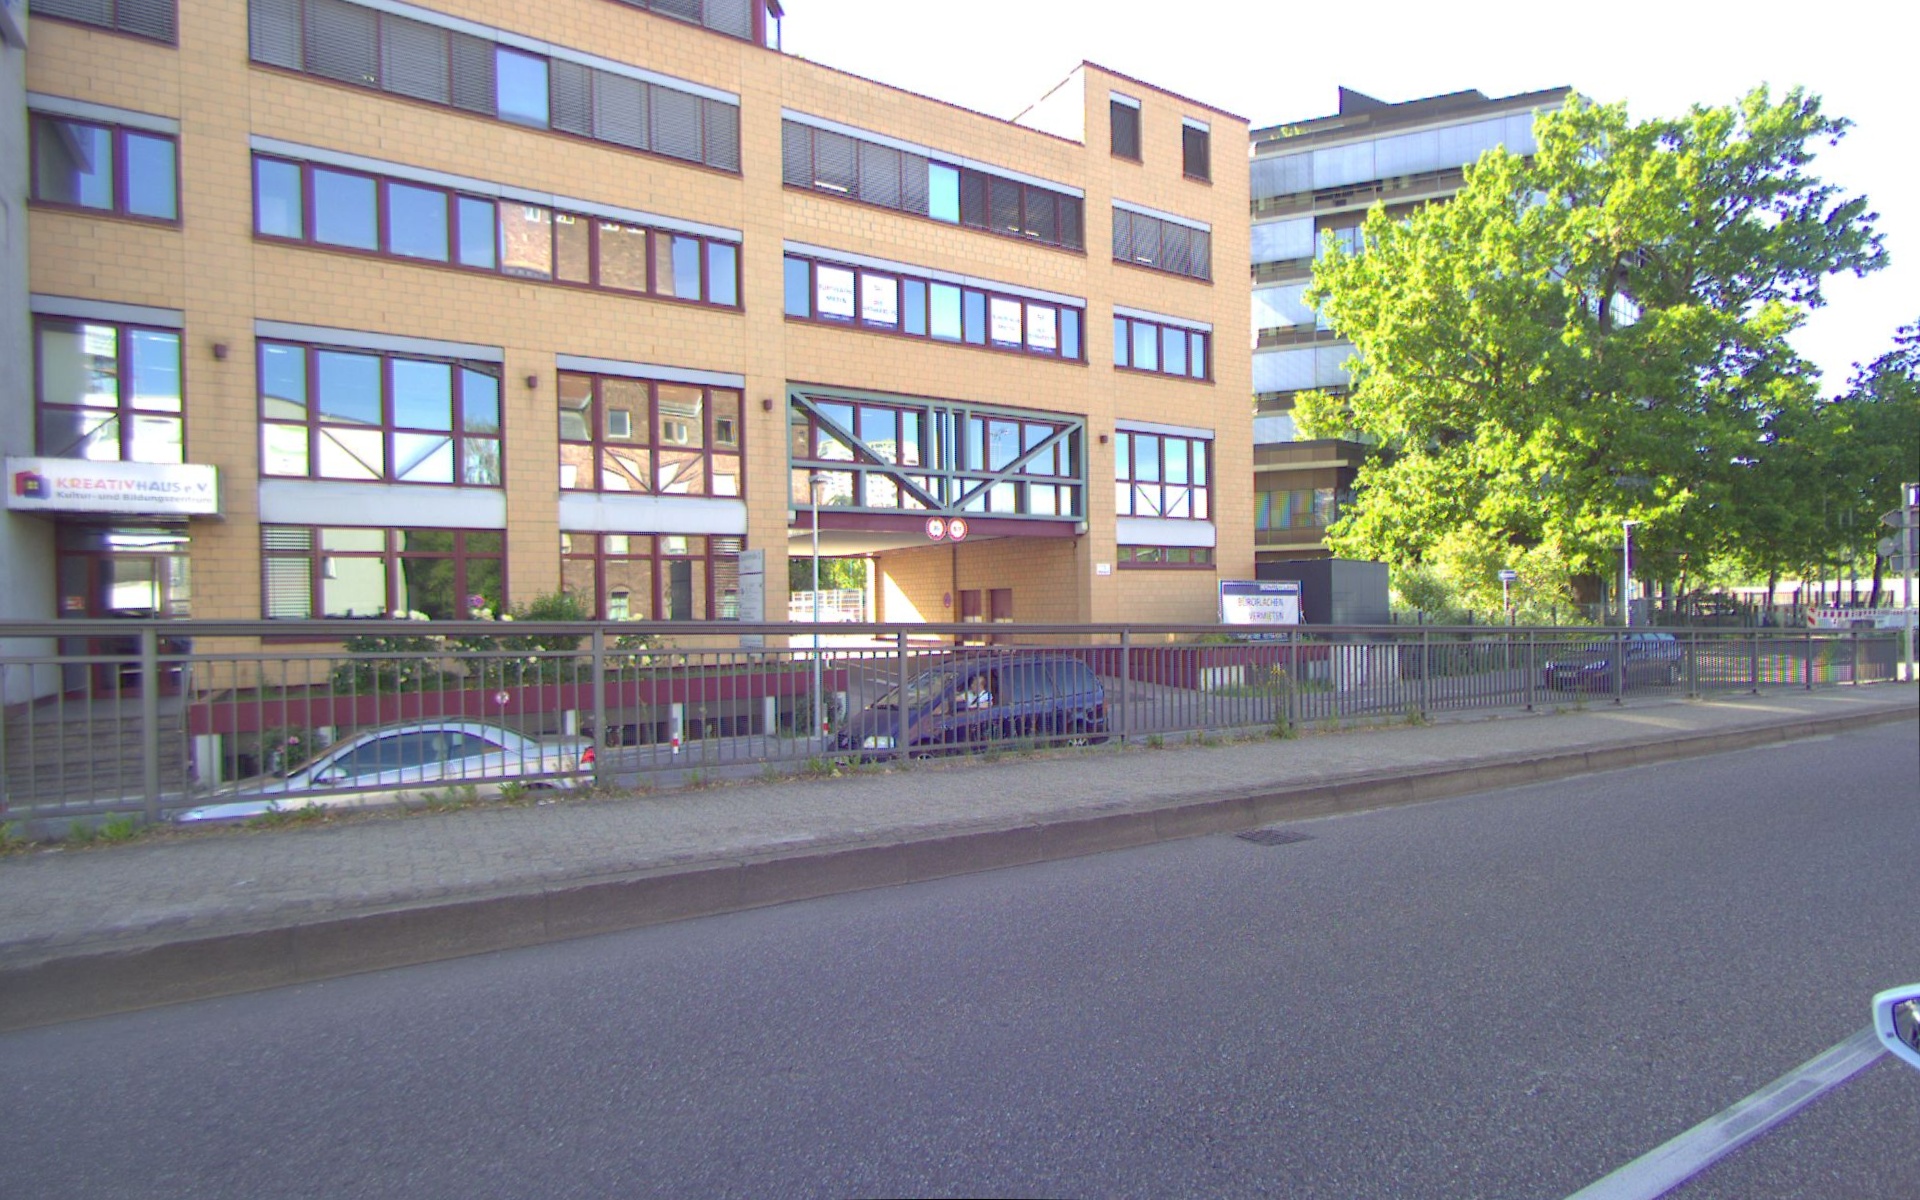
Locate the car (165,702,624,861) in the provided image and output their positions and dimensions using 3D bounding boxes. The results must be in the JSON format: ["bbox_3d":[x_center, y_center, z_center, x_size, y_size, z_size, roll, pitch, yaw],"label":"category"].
[{"bbox_3d":[-6.144,1.898,11.316,4.210,1.181,1.713,0,-2,-32],"label":"car"}]

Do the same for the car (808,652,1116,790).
[{"bbox_3d":[0.122,1.697,15.226,4.541,1.669,1.710,0,-2,-35],"label":"car"}]

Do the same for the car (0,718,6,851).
[{"bbox_3d":[-10.650,1.781,8.282,3.766,1.286,1.567,0,-2,-32],"label":"car"}]

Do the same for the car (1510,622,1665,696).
[{"bbox_3d":[16.431,1.467,26.273,3.953,1.715,1.843,-1,0,-30],"label":"car"}]
